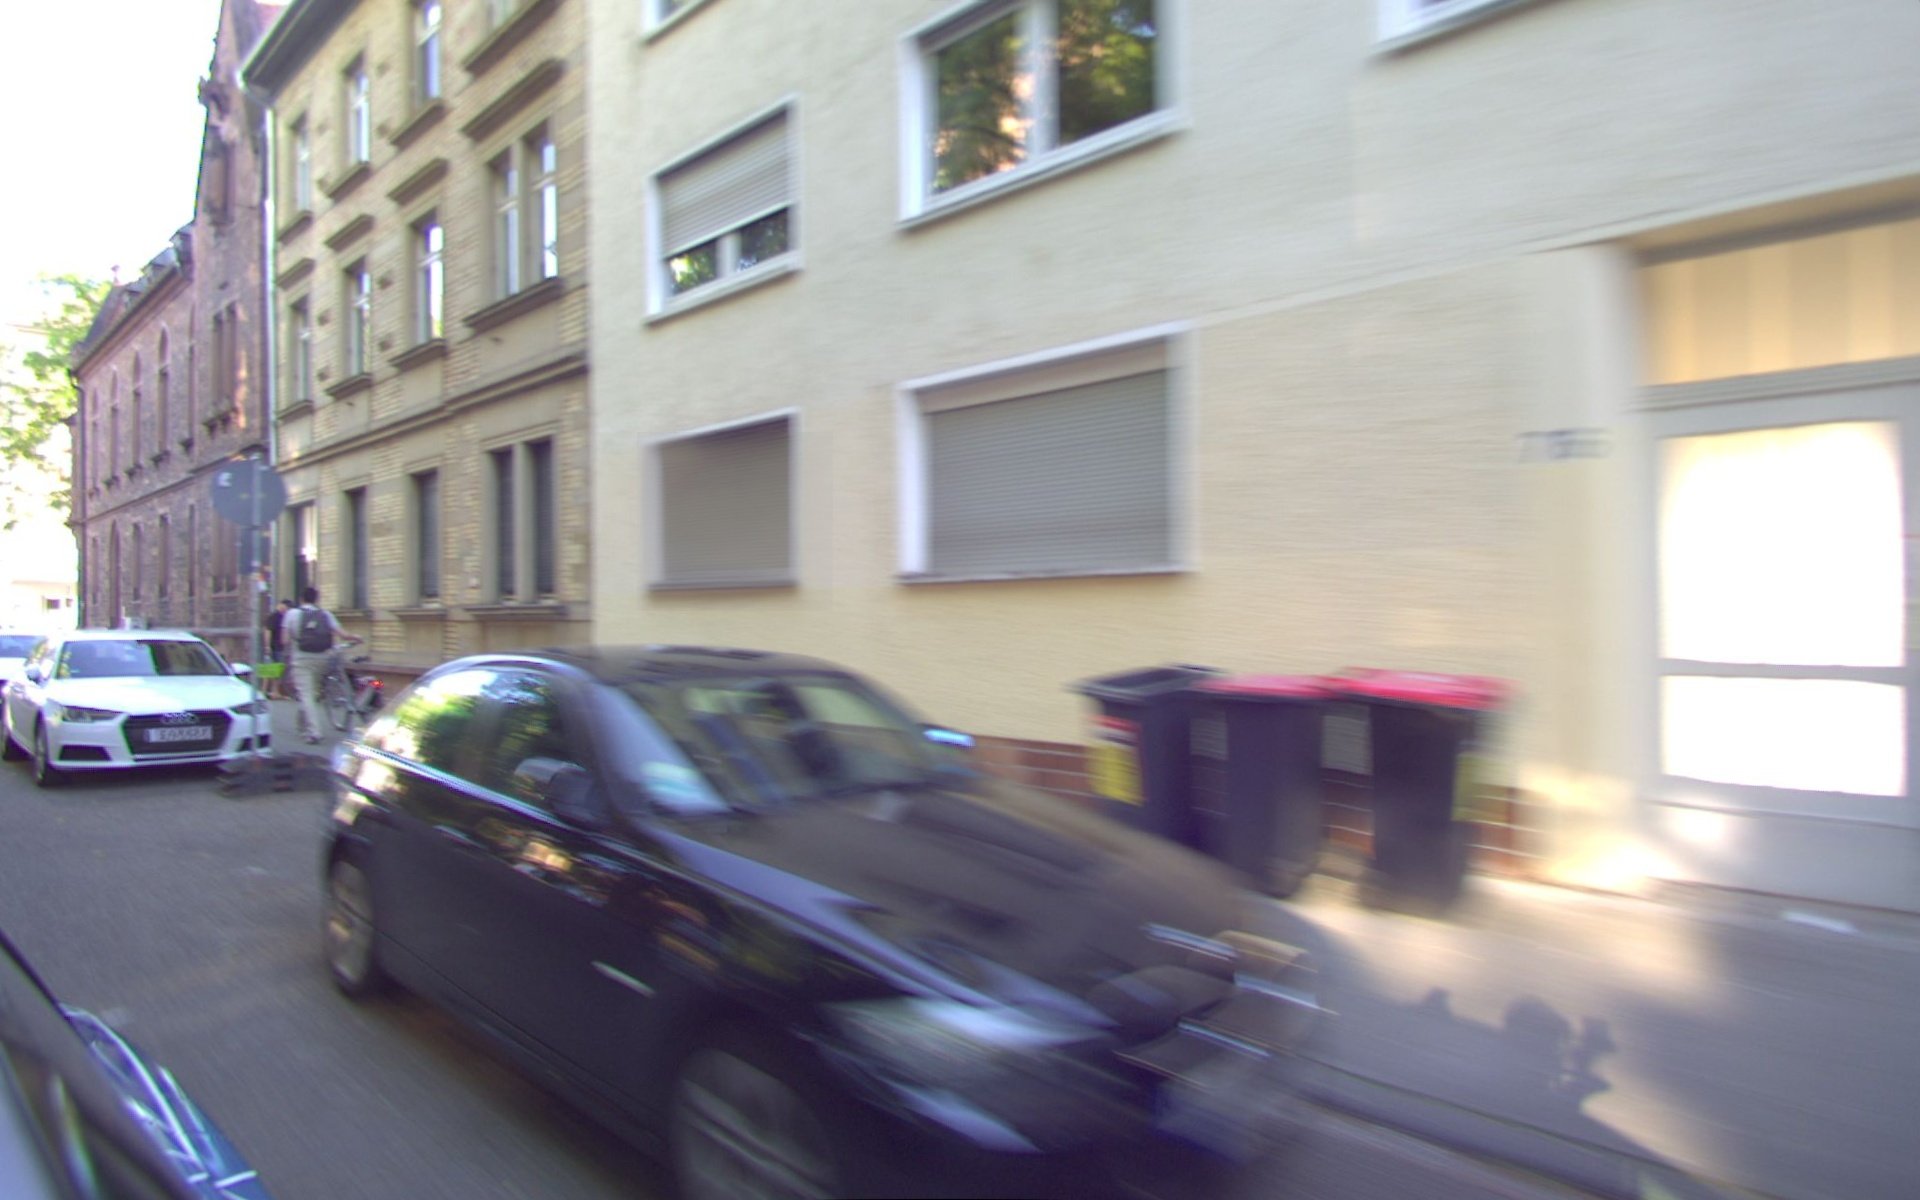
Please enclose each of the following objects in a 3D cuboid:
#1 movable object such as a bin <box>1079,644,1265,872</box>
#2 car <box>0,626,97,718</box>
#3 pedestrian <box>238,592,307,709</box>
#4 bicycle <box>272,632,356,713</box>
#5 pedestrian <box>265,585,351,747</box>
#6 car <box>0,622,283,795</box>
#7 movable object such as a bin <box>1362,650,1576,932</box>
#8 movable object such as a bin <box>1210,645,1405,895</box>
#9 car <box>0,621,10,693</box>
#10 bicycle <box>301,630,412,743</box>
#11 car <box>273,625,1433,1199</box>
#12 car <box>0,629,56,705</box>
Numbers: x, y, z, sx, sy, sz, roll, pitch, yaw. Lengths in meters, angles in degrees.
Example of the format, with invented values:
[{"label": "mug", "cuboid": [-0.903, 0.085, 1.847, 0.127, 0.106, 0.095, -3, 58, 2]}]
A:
[{"label": "movable object such as a bin", "cuboid": [1.180, 0.814, 5.614, 0.675, 1.096, 0.827, 0, 0, 44]}, {"label": "car", "cuboid": [-16.401, 1.189, 17.547, 3.803, 1.428, 1.690, -1, -3, 42]}, {"label": "pedestrian", "cuboid": [-11.768, 0.839, 17.328, 0.762, 1.943, 0.759, -2, -1, 38]}, {"label": "bicycle", "cuboid": [-10.158, 1.106, 15.885, 1.843, 1.156, 0.564, -1, 2, 41]}, {"label": "pedestrian", "cuboid": [-7.728, 0.756, 11.992, 1.114, 1.816, 0.483, -2, 1, 40]}, {"label": "car", "cuboid": [-8.907, 0.996, 10.767, 4.519, 1.467, 1.712, -1, -3, 42]}, {"label": "movable object such as a bin", "cuboid": [2.337, 0.804, 4.641, 0.791, 1.096, 0.666, 0, 0, -45]}, {"label": "movable object such as a bin", "cuboid": [1.777, 0.803, 5.159, 0.791, 1.096, 0.666, 0, 0, -45]}, {"label": "car", "cuboid": [-24.504, 1.331, 24.611, 4.277, 1.687, 1.690, -1, -3, 43]}, {"label": "bicycle", "cuboid": [-7.410, 1.017, 12.395, 1.843, 1.253, 0.564, -1, 2, 41]}, {"label": "car", "cuboid": [-0.858, 0.817, 3.625, 4.315, 1.413, 1.712, -2, -3, 43]}, {"label": "car", "cuboid": [-19.922, 1.328, 20.713, 3.803, 1.428, 1.690, -1, -3, 42]}]
